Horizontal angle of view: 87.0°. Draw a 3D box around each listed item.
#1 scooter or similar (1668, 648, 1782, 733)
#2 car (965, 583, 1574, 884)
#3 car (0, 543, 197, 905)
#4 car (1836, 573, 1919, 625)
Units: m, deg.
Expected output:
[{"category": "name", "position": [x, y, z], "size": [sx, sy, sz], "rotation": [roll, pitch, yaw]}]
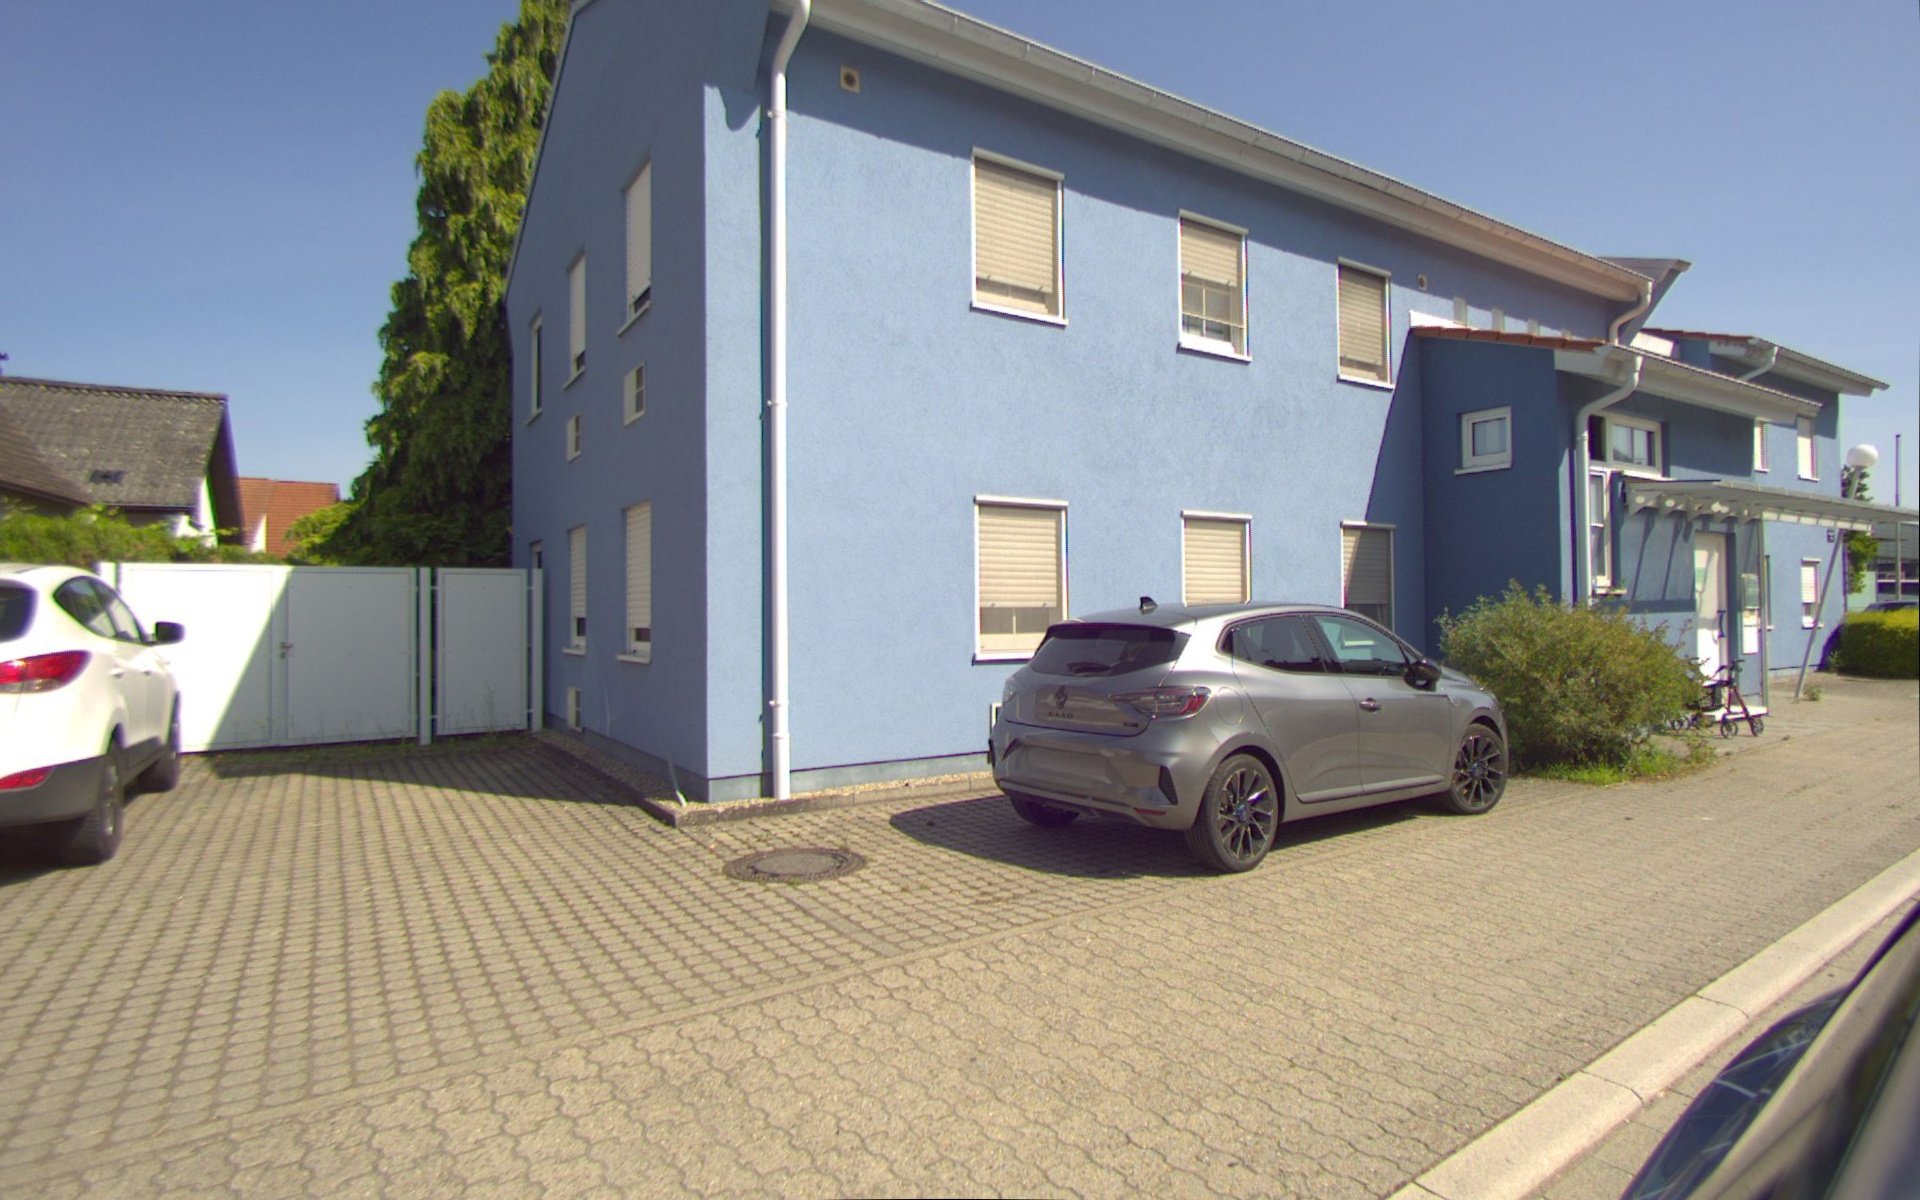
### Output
[{"category": "scooter or similar", "position": [8.341, 0.967, 11.043], "size": [0.811, 0.825, 0.731], "rotation": [-1, 0, -30]}, {"category": "car", "position": [2.192, 0.643, 6.736], "size": [4.066, 1.438, 1.695], "rotation": [-1, -1, -35]}, {"category": "car", "position": [-6.030, 0.594, 6.179], "size": [1.776, 1.678, 4.191], "rotation": [-1, 0, -31]}, {"category": "car", "position": [38.645, -0.050, 40.580], "size": [5.262, 2.039, 2.199], "rotation": [0, 0, 41]}]
